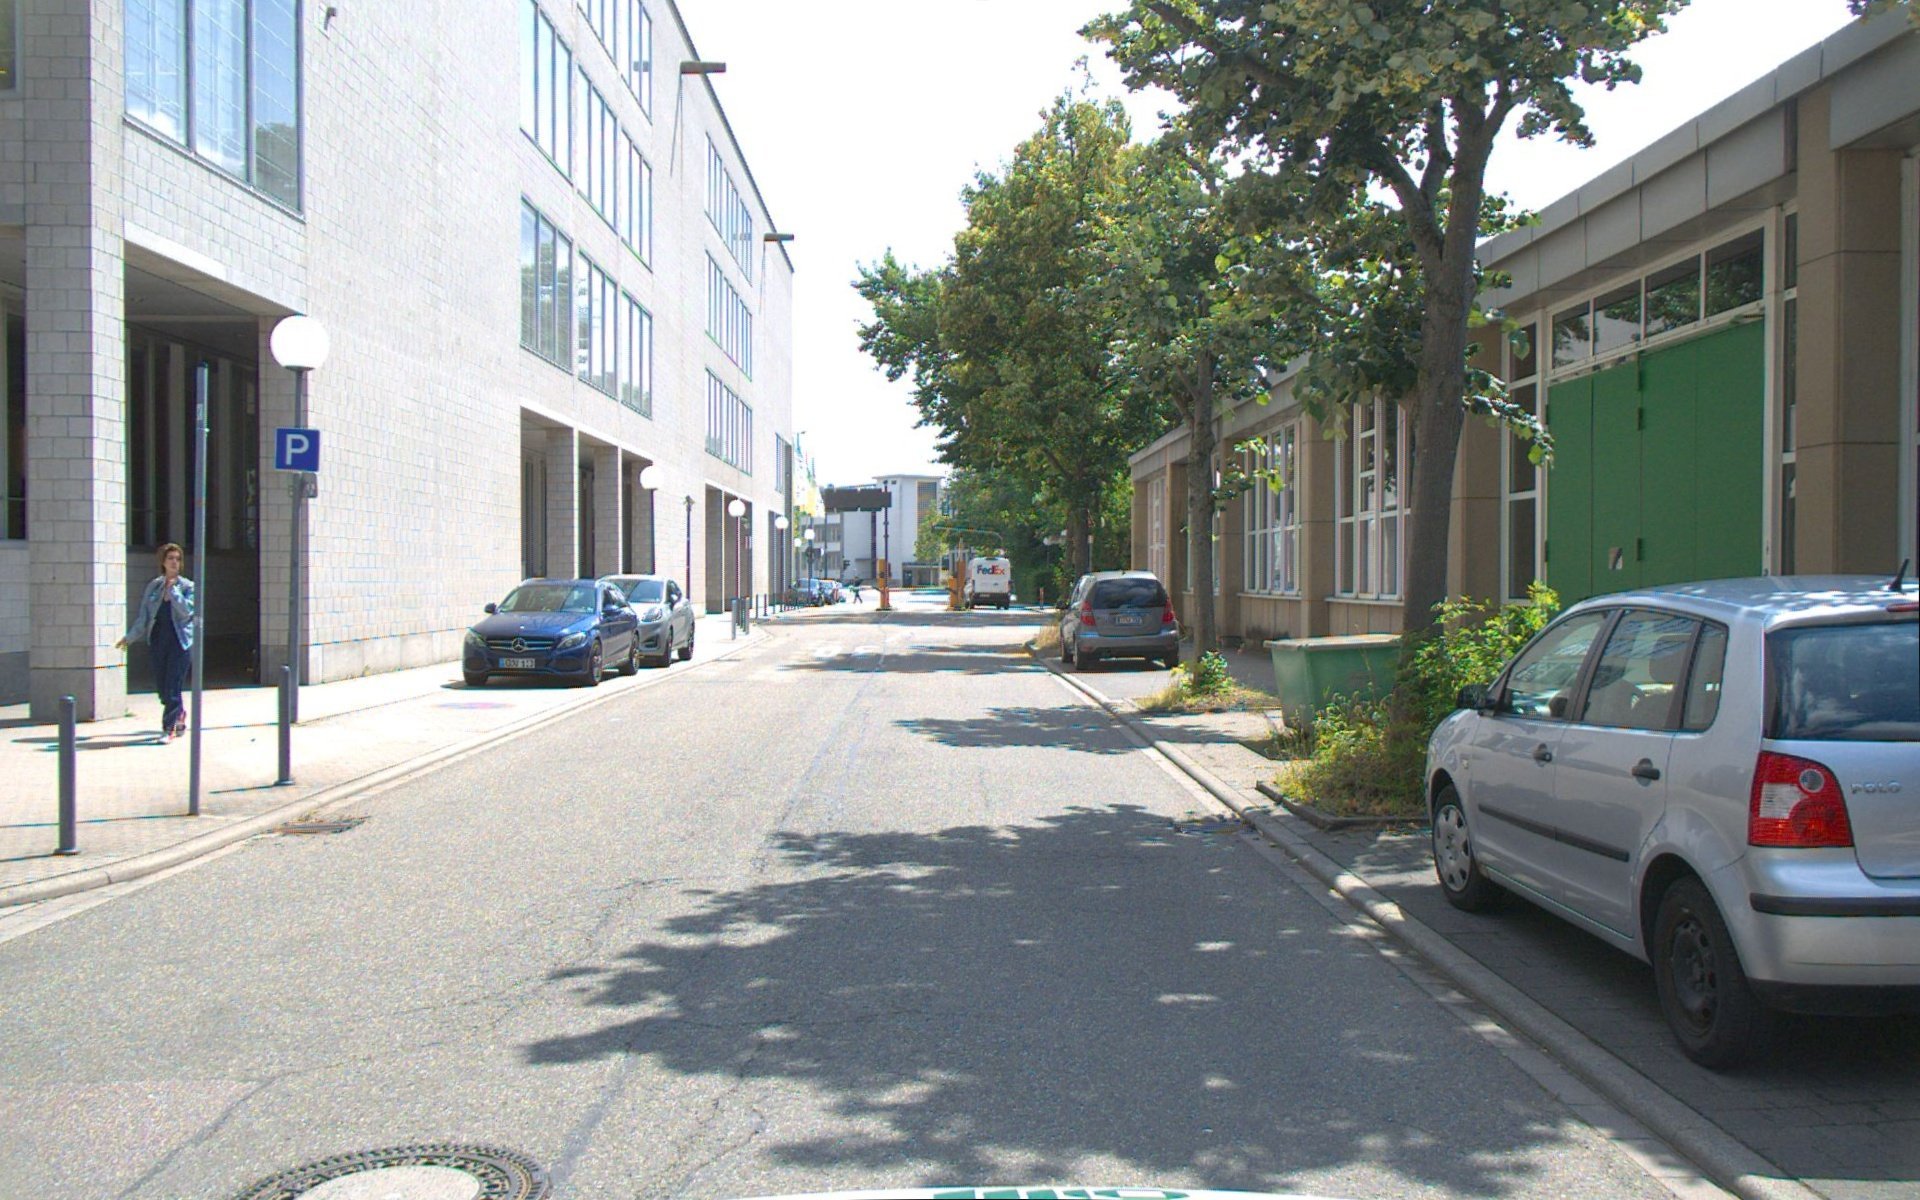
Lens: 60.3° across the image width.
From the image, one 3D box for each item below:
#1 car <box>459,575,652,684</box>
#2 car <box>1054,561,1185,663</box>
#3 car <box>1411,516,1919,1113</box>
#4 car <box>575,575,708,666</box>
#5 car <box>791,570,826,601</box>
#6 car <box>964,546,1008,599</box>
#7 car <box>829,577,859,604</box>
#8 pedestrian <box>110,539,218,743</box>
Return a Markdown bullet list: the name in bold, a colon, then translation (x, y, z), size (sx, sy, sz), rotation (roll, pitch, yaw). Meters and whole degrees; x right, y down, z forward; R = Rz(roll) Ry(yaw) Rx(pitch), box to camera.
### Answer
- **car**: translation (-5.785, 0.378, 24.149), size (1.730, 1.452, 4.235), rotation (0, 0, 1)
- **car**: translation (2.697, 0.165, 28.813), size (1.821, 1.601, 4.000), rotation (-2, 1, -1)
- **car**: translation (3.023, 0.534, 6.234), size (1.583, 1.565, 3.779), rotation (0, 1, -1)
- **car**: translation (-5.591, 0.316, 29.465), size (1.597, 1.510, 4.177), rotation (0, 0, -1)
- **car**: translation (-8.114, -0.768, 88.925), size (1.612, 1.524, 3.727), rotation (-1, -1, -1)
- **car**: translation (1.285, -1.384, 83.721), size (2.041, 2.584, 4.315), rotation (1, 1, -1)
- **car**: translation (-7.108, -0.563, 101.484), size (1.612, 1.524, 3.727), rotation (-1, -1, -1)
- **pedestrian**: translation (-6.977, 0.342, 14.529), size (0.638, 1.731, 0.887), rotation (0, 1, -12)
